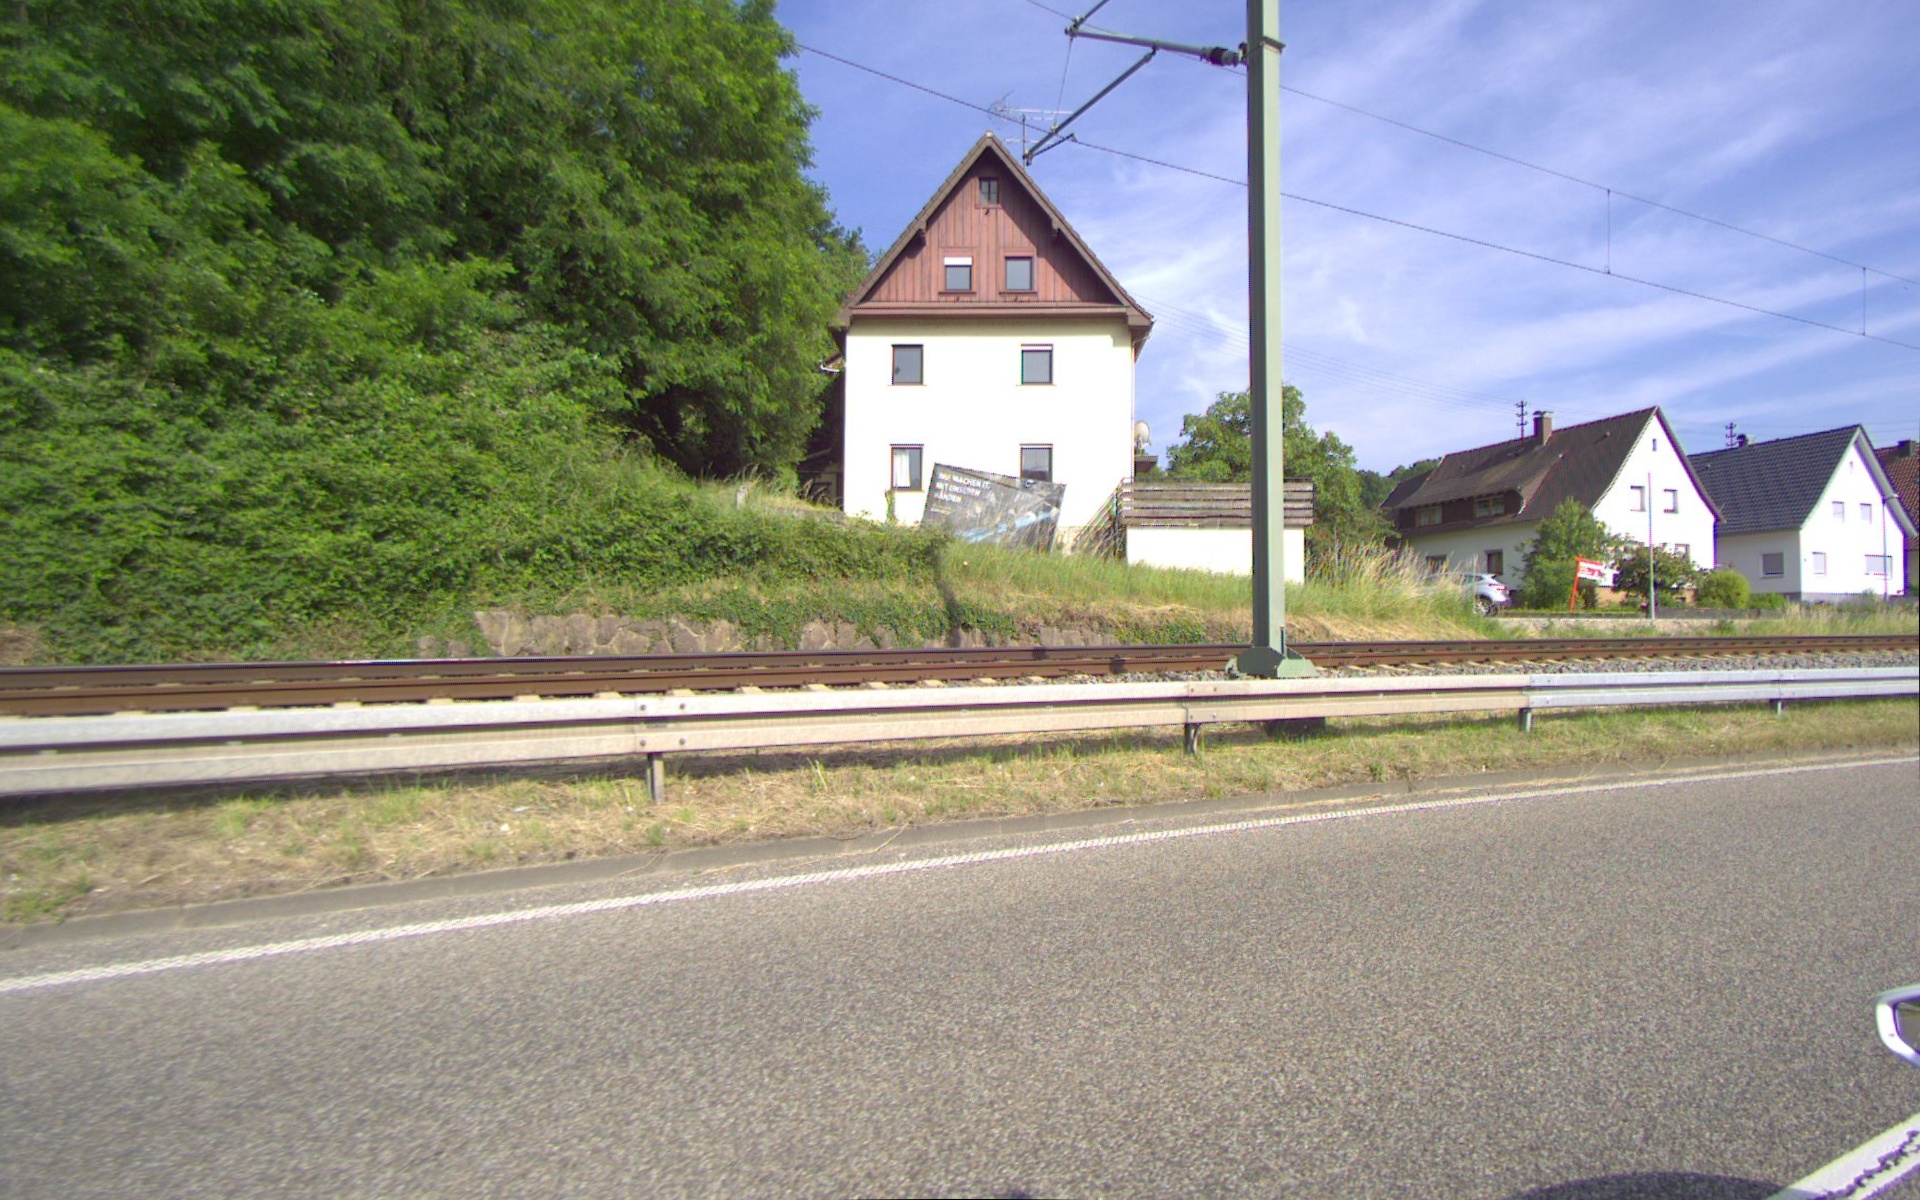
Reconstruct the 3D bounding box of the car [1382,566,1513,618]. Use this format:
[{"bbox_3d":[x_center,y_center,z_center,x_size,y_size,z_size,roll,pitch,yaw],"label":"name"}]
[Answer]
[{"bbox_3d":[16.995,-0.277,35.053,3.958,1.697,1.645,-1,2,33],"label":"car"}]
